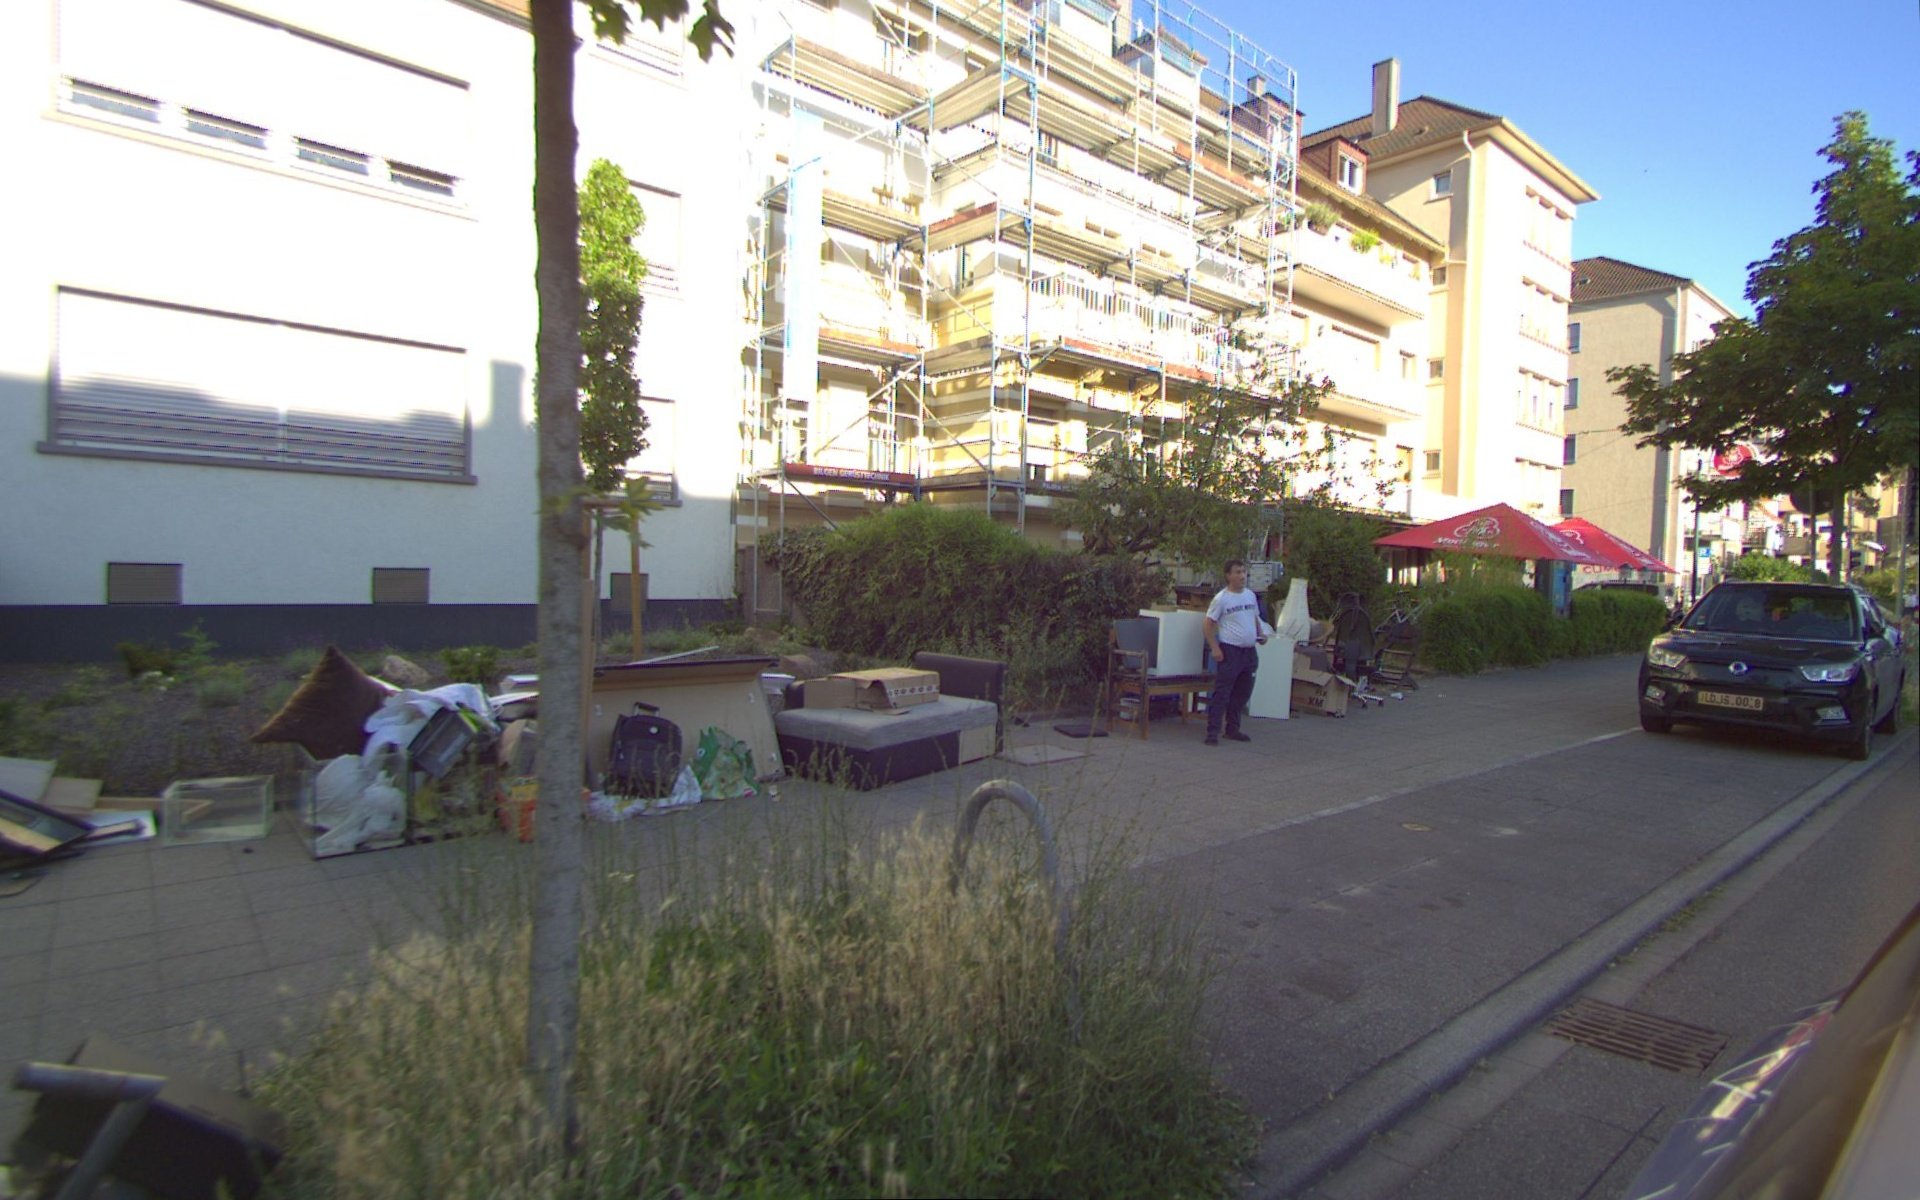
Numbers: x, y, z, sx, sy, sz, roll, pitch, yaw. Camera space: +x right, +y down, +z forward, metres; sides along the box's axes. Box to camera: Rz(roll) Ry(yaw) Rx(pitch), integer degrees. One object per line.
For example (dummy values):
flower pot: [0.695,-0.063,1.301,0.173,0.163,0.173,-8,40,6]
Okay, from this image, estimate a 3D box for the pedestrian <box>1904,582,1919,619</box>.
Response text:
pedestrian: [44.697,0.035,47.178,0.648,1.703,0.831,0,2,-37]

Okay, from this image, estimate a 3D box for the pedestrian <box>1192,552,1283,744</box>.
pedestrian: [2.430,0.385,8.832,0.553,1.587,0.740,2,2,31]

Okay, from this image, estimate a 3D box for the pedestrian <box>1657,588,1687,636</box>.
pedestrian: [17.641,0.291,25.073,0.620,1.164,0.413,0,1,-37]

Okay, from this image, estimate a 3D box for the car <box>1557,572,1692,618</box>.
car: [30.436,-0.296,46.463,1.920,1.888,4.836,-2,3,-43]

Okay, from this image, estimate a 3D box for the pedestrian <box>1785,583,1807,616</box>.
pedestrian: [35.972,-0.016,43.550,0.584,1.408,0.641,0,1,-41]

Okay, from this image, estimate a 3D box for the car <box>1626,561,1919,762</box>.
car: [8.658,0.488,10.596,3.960,1.651,1.795,0,4,-42]
